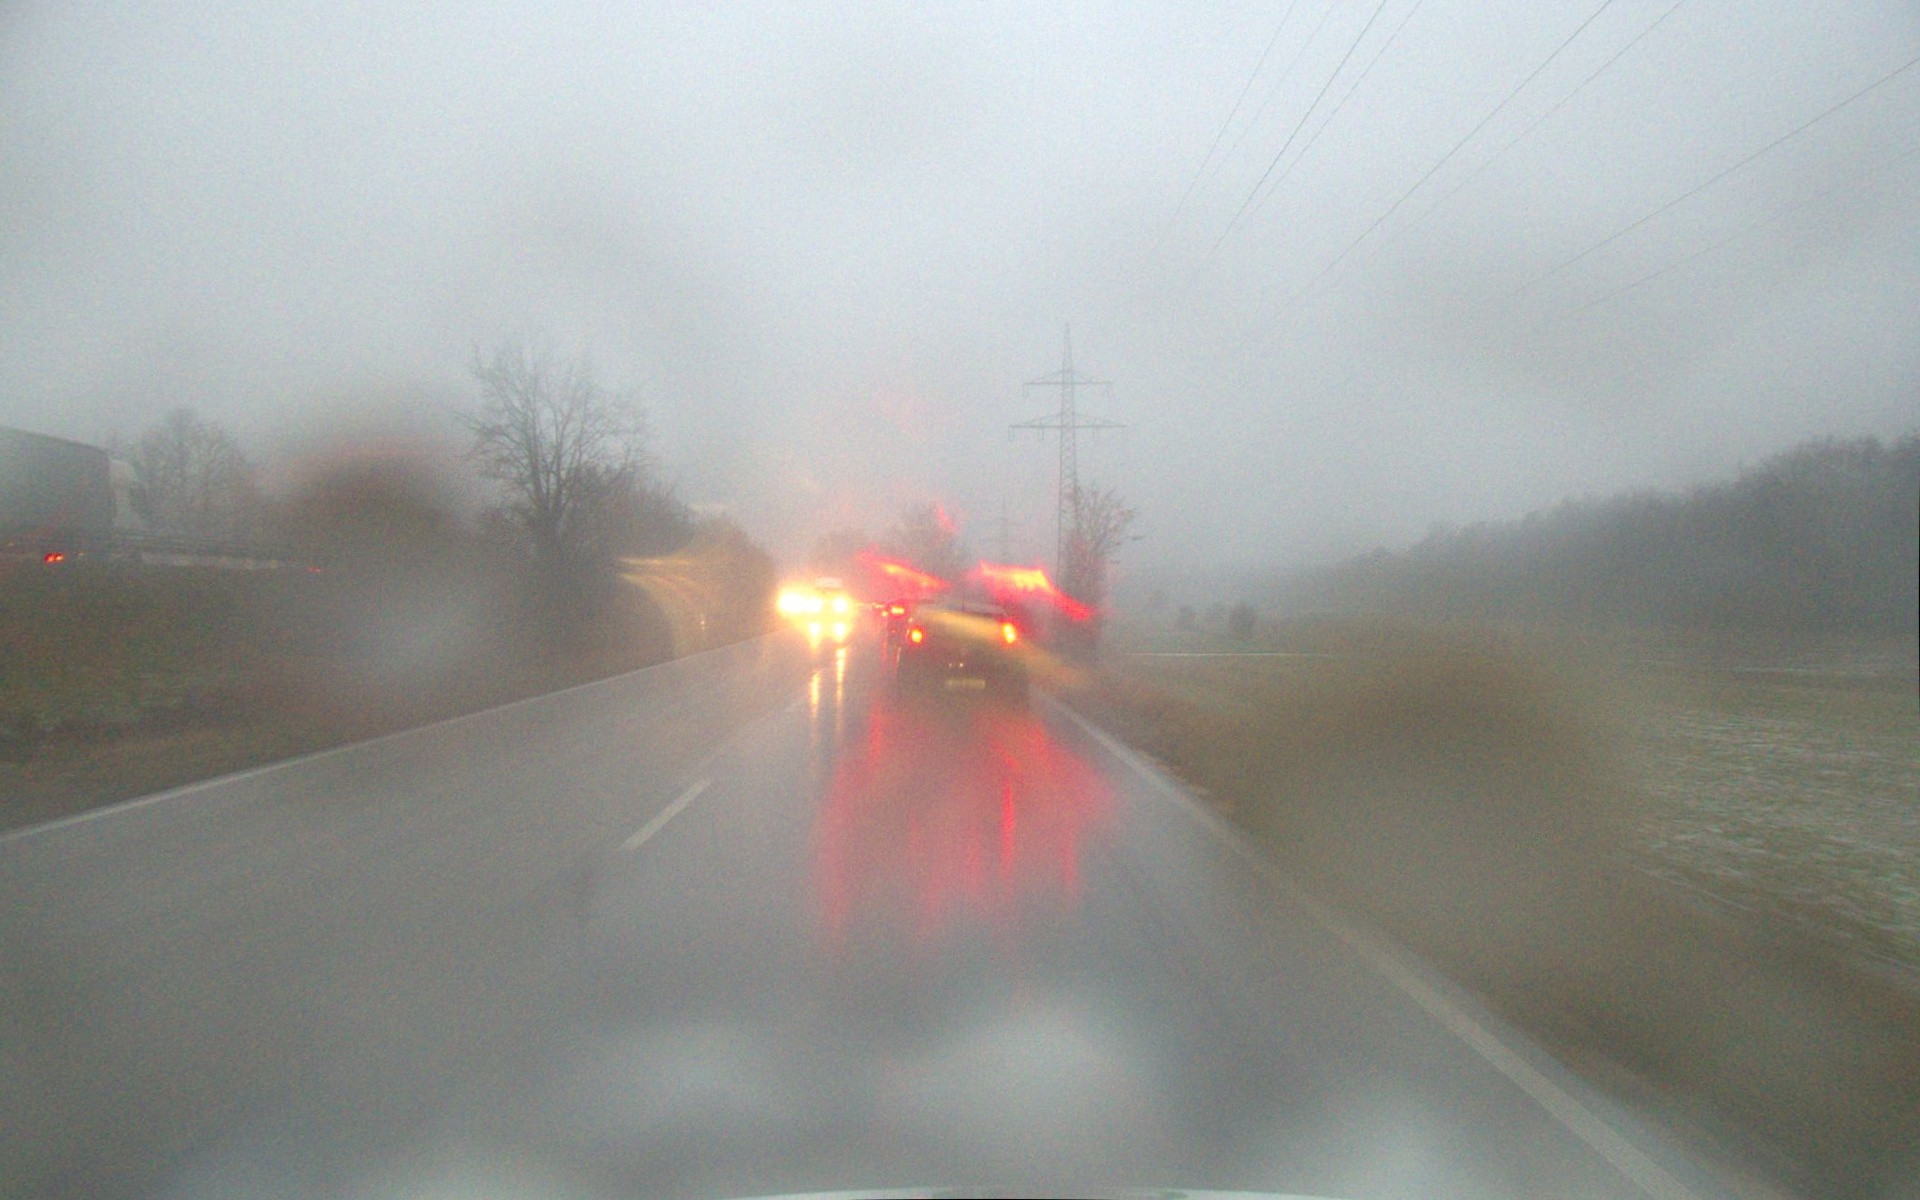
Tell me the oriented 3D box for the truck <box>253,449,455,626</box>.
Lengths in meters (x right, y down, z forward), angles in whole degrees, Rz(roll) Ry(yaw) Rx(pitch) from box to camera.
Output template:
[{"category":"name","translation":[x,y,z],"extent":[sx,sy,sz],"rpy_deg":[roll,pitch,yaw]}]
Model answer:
[{"category":"truck","translation":[-33.424,-2.794,94.608],"extent":[7.420,7.848,39.979],"rpy_deg":[1,0,-15]}]

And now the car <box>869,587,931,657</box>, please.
[{"category":"car","translation":[-1.862,0.652,50.516],"extent":[1.815,2.049,3.997],"rpy_deg":[1,0,-3]}]

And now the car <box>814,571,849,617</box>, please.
[{"category":"car","translation":[-7.970,-0.373,103.261],"extent":[1.914,2.721,6.268],"rpy_deg":[1,0,-2]}]

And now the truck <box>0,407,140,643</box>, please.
[{"category":"truck","translation":[-27.887,-2.048,45.192],"extent":[3.688,6.398,15.730],"rpy_deg":[1,0,-3]}]

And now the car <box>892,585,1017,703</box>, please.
[{"category":"car","translation":[-0.129,0.541,21.750],"extent":[1.470,1.423,3.197],"rpy_deg":[1,0,-3]}]
